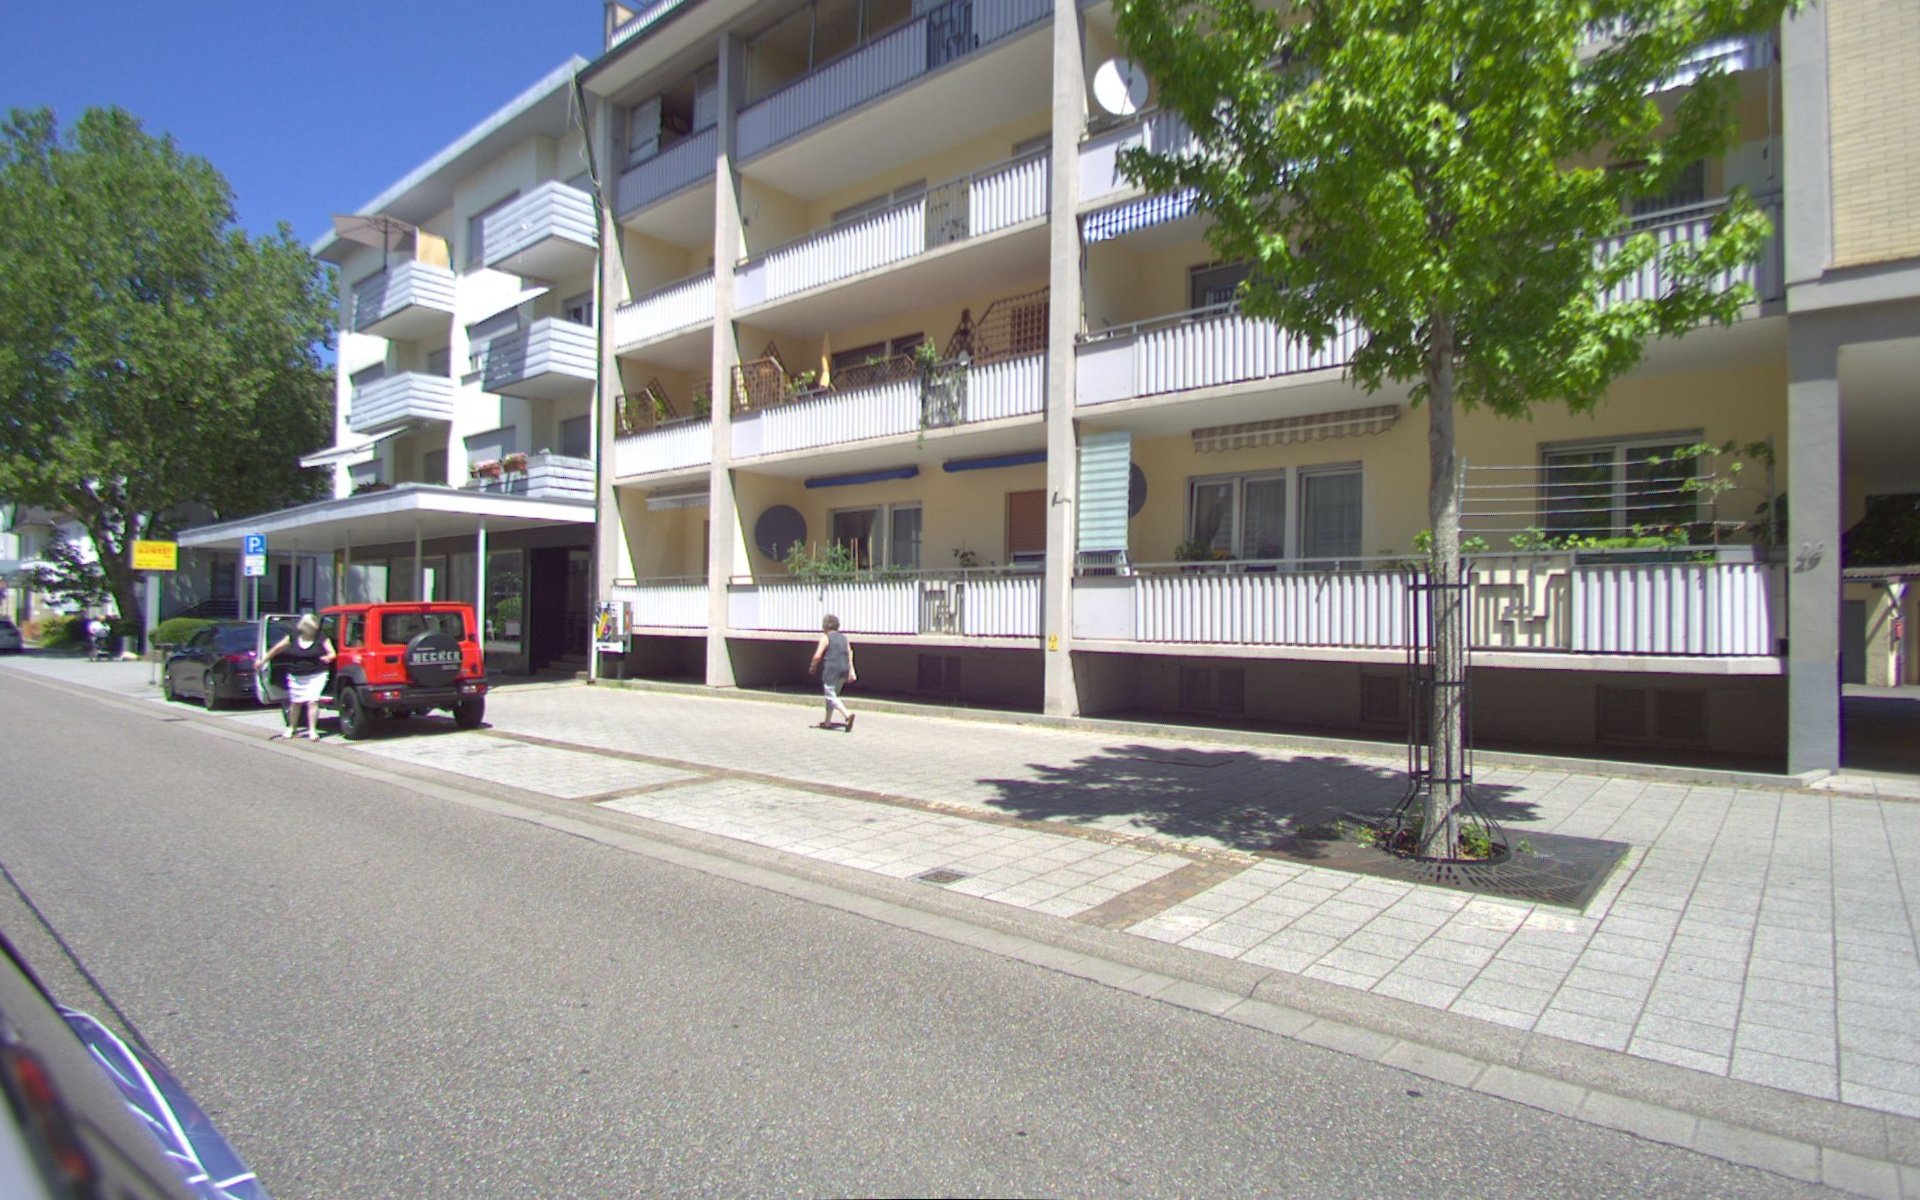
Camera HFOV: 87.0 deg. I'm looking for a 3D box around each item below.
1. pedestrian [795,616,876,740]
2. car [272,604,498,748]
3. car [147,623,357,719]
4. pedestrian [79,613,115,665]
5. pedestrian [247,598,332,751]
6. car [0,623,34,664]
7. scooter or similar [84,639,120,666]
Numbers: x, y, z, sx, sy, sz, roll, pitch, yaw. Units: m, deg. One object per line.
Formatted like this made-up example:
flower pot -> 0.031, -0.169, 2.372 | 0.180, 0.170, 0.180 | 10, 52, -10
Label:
pedestrian -> -1.581, 0.964, 12.826 | 0.767, 1.510, 0.698 | 2, -3, -38
car -> -7.800, 0.931, 13.636 | 3.368, 1.674, 1.623 | -1, -1, 41
car -> -12.510, 1.170, 17.825 | 3.995, 1.475, 1.974 | -1, -1, 38
pedestrian -> -30.306, 1.377, 35.560 | 0.737, 1.806, 0.635 | -1, -2, 18
pedestrian -> -8.253, 0.897, 12.461 | 0.668, 1.818, 0.676 | -2, -3, 40
car -> -37.004, 1.652, 38.663 | 3.998, 1.519, 1.973 | -1, -2, 41
scooter or similar -> -29.573, 1.804, 34.870 | 0.737, 0.932, 0.635 | 0, -2, 18
